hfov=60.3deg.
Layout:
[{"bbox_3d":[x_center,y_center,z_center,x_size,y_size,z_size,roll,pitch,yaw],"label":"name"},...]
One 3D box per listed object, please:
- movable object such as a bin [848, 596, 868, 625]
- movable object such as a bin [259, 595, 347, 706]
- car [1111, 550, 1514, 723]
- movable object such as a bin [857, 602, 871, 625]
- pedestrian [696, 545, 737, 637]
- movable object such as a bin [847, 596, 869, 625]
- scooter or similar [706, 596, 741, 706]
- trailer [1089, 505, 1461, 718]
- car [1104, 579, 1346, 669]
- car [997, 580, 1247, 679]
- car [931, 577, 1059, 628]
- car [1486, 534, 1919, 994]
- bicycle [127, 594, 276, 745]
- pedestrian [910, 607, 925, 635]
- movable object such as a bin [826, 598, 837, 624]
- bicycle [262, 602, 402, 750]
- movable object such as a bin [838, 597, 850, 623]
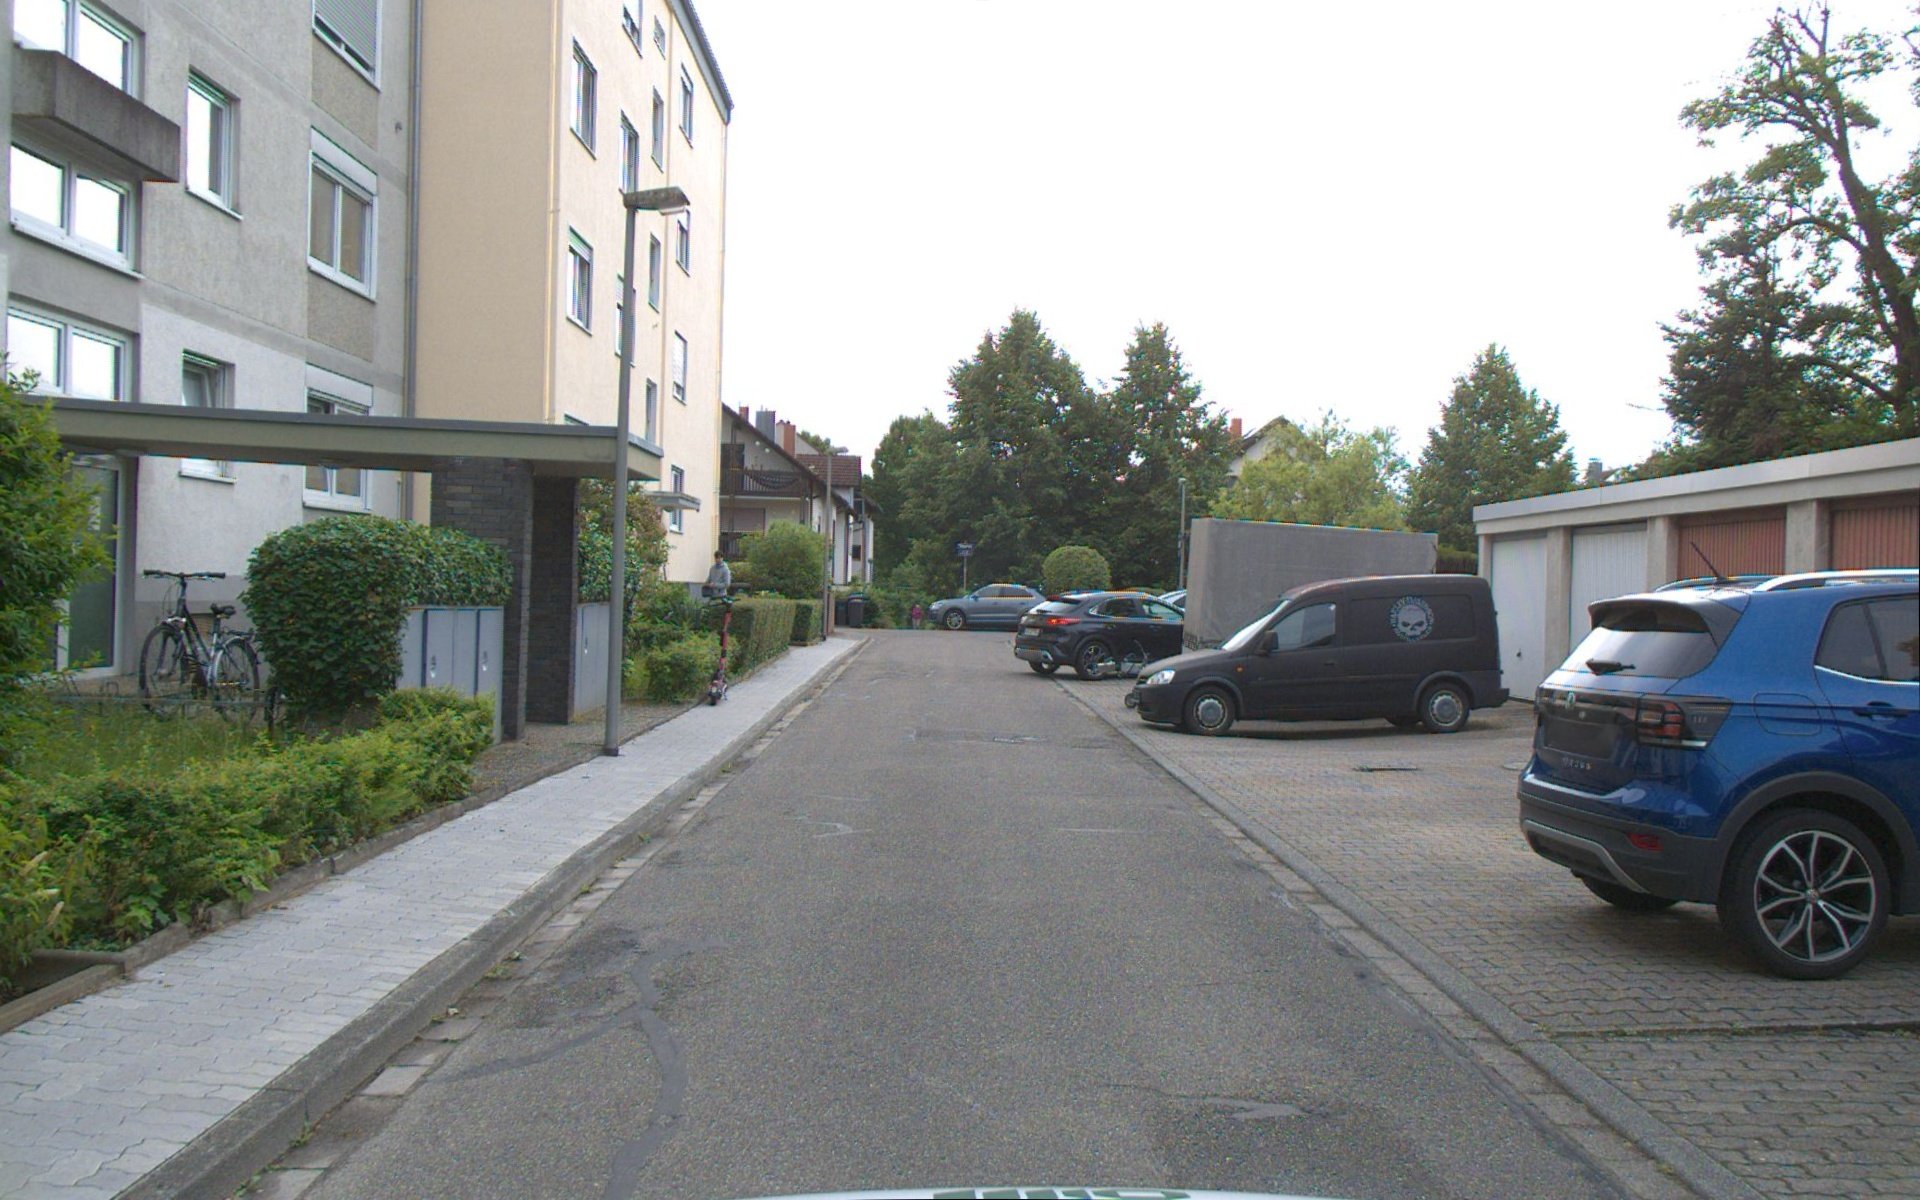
[{"bbox_3d":[-3.528,0.364,57.362,0.625,0.970,0.723,2,0,-2],"label":"movable object such as a bin"},{"bbox_3d":[-6.314,0.473,15.907,0.525,1.037,0.580,1,0,20],"label":"movable object such as a bin"},{"bbox_3d":[3.994,0.381,19.240,4.223,1.833,1.999,-1,1,-2],"label":"car"},{"bbox_3d":[-3.441,0.470,59.288,0.450,0.811,0.379,2,0,-4],"label":"movable object such as a bin"},{"bbox_3d":[-4.816,-0.182,32.719,0.665,1.779,0.756,2,0,-3],"label":"pedestrian"},{"bbox_3d":[-3.588,0.360,58.088,0.719,0.970,0.584,2,0,-2],"label":"movable object such as a bin"},{"bbox_3d":[-2.781,0.582,19.483,0.267,1.232,1.164,1,1,-2],"label":"scooter or similar"},{"bbox_3d":[4.091,0.137,22.010,4.516,2.569,1.942,2,0,-1],"label":"trailer"},{"bbox_3d":[5.134,0.441,32.486,4.444,1.616,1.988,1,1,0],"label":"car"},{"bbox_3d":[2.841,0.471,29.149,3.932,1.579,1.986,-1,1,-23],"label":"car"},{"bbox_3d":[1.137,0.093,55.285,4.151,1.558,1.746,2,-2,-2],"label":"car"},{"bbox_3d":[4.625,0.584,7.357,3.906,1.733,1.999,-1,1,-2],"label":"car"},{"bbox_3d":[-5.739,0.494,12.587,0.366,1.052,1.546,3,0,0],"label":"bicycle"},{"bbox_3d":[-2.365,1.139,91.498,0.799,1.544,0.438,1,-1,-4],"label":"pedestrian"},{"bbox_3d":[-4.578,0.396,58.945,0.378,0.917,0.379,2,0,-4],"label":"movable object such as a bin"},{"bbox_3d":[-4.891,0.563,12.967,0.444,1.052,1.546,3,0,0],"label":"bicycle"},{"bbox_3d":[-4.145,0.348,58.970,0.378,0.905,0.379,2,0,-4],"label":"movable object such as a bin"}]
